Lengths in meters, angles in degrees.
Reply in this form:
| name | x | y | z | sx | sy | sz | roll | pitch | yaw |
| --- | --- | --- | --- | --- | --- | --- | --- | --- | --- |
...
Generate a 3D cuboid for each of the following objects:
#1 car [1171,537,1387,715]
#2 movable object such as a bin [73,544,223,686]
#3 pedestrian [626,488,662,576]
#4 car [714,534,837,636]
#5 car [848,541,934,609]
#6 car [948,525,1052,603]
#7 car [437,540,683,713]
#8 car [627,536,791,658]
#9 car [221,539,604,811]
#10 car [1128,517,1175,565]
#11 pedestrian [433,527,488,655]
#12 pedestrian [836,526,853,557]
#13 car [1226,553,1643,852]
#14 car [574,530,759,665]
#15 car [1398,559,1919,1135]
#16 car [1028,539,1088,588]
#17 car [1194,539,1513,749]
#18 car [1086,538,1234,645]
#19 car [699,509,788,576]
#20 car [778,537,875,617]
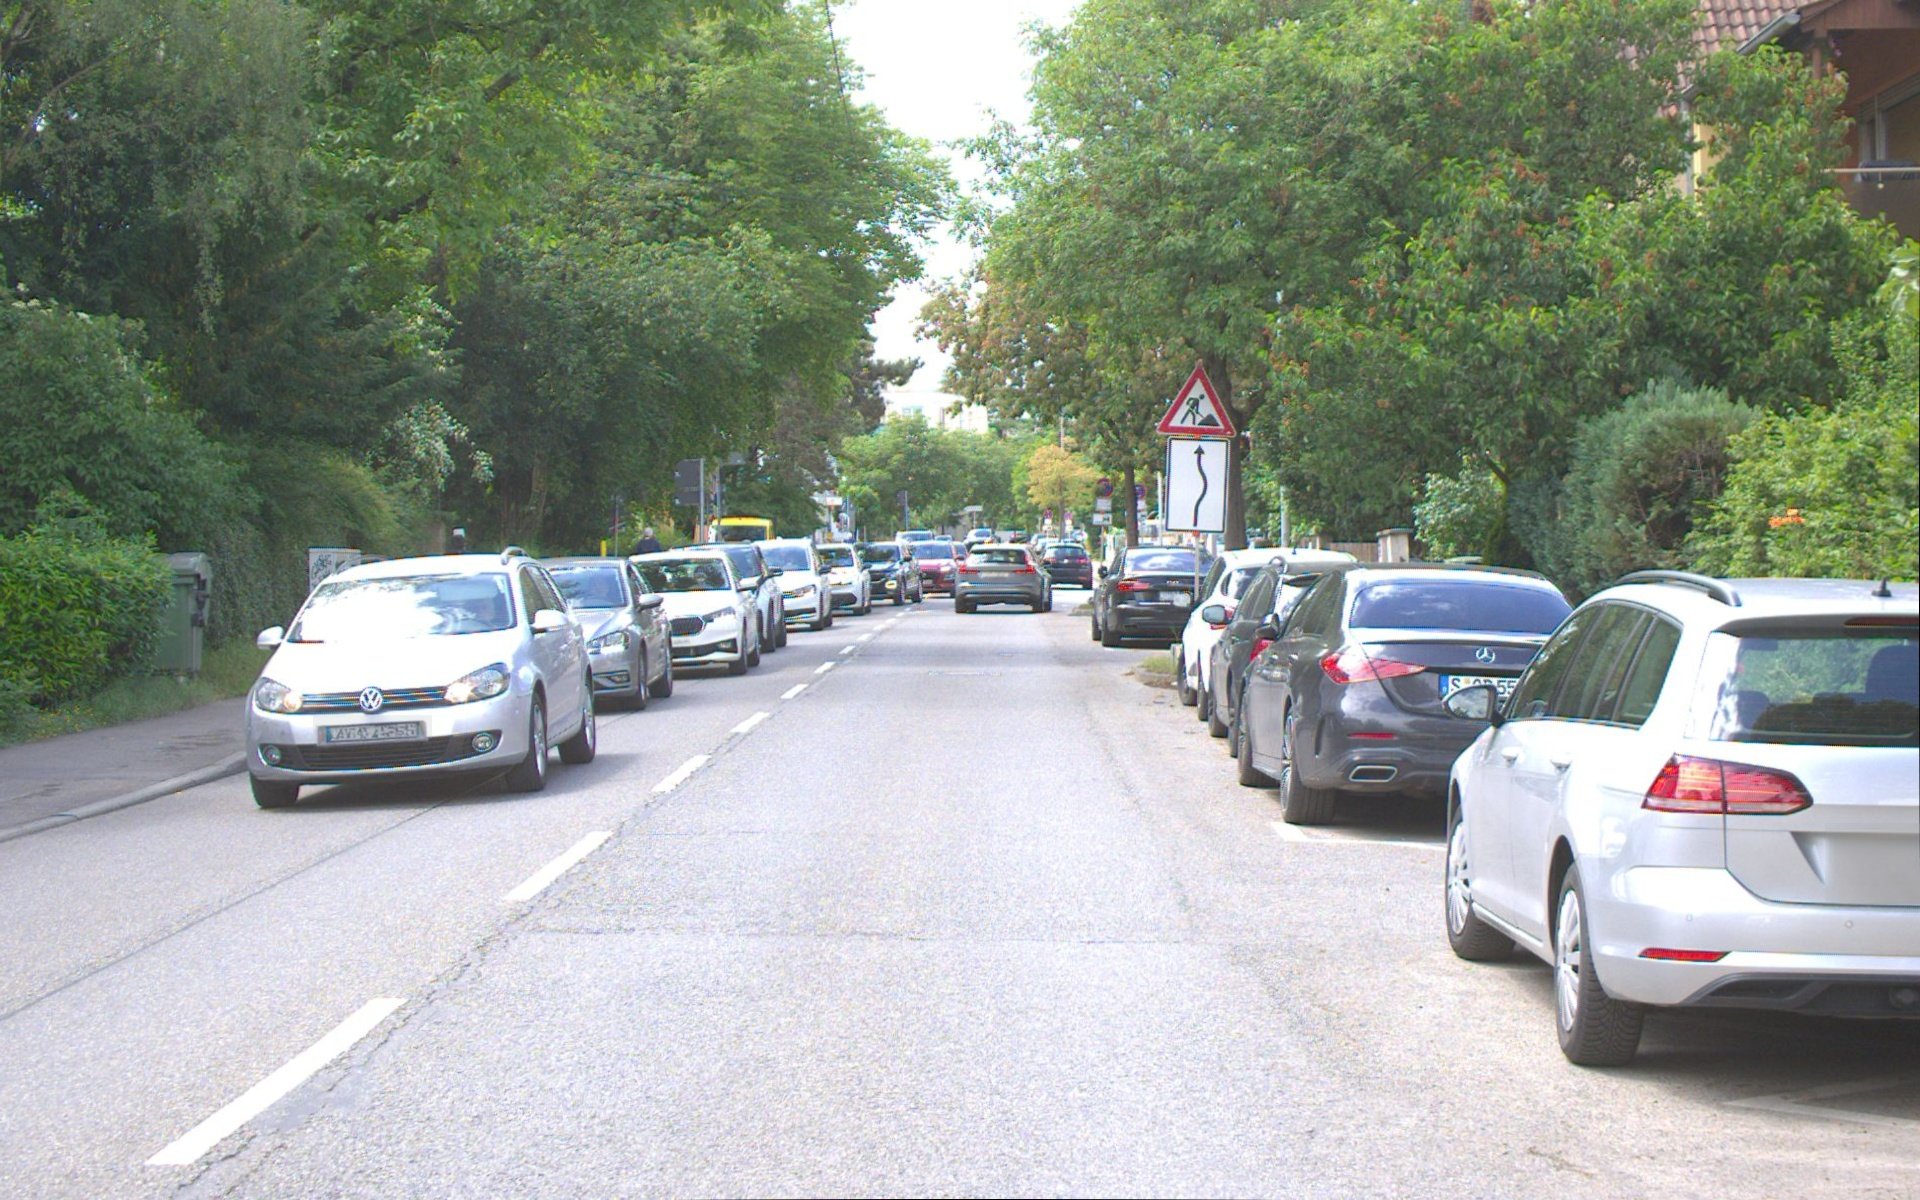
| name | x | y | z | sx | sy | sz | roll | pitch | yaw |
| --- | --- | --- | --- | --- | --- | --- | --- | --- | --- |
| car | 2.841 | 0.191 | 31.266 | 1.622 | 1.502 | 3.779 | -1 | 1 | 0 |
| movable object such as a bin | -8.261 | 0.145 | 35.029 | 1.329 | 1.422 | 1.214 | 0 | 0 | -5 |
| pedestrian | -6.379 | -1.363 | 69.503 | 0.714 | 1.756 | 1.122 | 0 | 0 | -5 |
| car | -3.210 | -0.298 | 60.504 | 1.786 | 1.642 | 4.490 | -2 | 1 | 1 |
| car | -1.651 | -0.631 | 83.466 | 1.789 | 1.536 | 4.263 | -2 | 1 | 2 |
| car | 0.890 | -0.785 | 73.409 | 1.976 | 1.508 | 4.266 | 3 | 1 | 3 |
| car | -3.753 | 0.219 | 32.928 | 1.709 | 1.451 | 4.287 | -3 | 0 | 1 |
| car | -3.527 | -0.085 | 48.978 | 1.928 | 1.541 | 4.086 | -3 | 1 | 0 |
| car | -3.407 | 0.397 | 22.172 | 1.728 | 1.497 | 4.376 | -3 | 1 | 0 |
| car | 8.326 | -2.567 | 149.942 | 1.994 | 2.007 | 4.000 | 0 | 0 | 2 |
| pedestrian | -6.569 | -0.116 | 45.234 | 0.653 | 1.661 | 0.932 | 0 | 0 | -5 |
| pedestrian | -5.317 | -2.688 | 158.185 | 0.705 | 1.434 | 0.713 | 0 | 0 | 5 |
| car | 2.606 | 0.487 | 19.964 | 1.734 | 1.424 | 4.883 | 2 | 1 | 1 |
| car | -3.401 | -0.069 | 40.432 | 1.760 | 1.434 | 3.970 | -2 | 1 | 0 |
| car | 2.618 | 0.632 | 11.520 | 1.701 | 1.475 | 4.872 | 1 | 1 | 1 |
| car | 3.091 | -1.161 | 107.691 | 1.816 | 1.495 | 4.267 | 1 | 1 | 2 |
| car | 2.854 | 0.262 | 25.866 | 1.993 | 1.418 | 4.588 | -1 | 1 | 2 |
| car | 2.875 | -0.157 | 50.219 | 1.801 | 1.440 | 4.887 | 2 | 1 | 0 |
| car | -6.581 | -1.742 | 105.052 | 2.146 | 1.974 | 4.930 | 0 | 0 | 3 |
| car | -2.823 | -0.504 | 73.308 | 1.785 | 1.586 | 4.154 | -2 | 1 | 1 |
